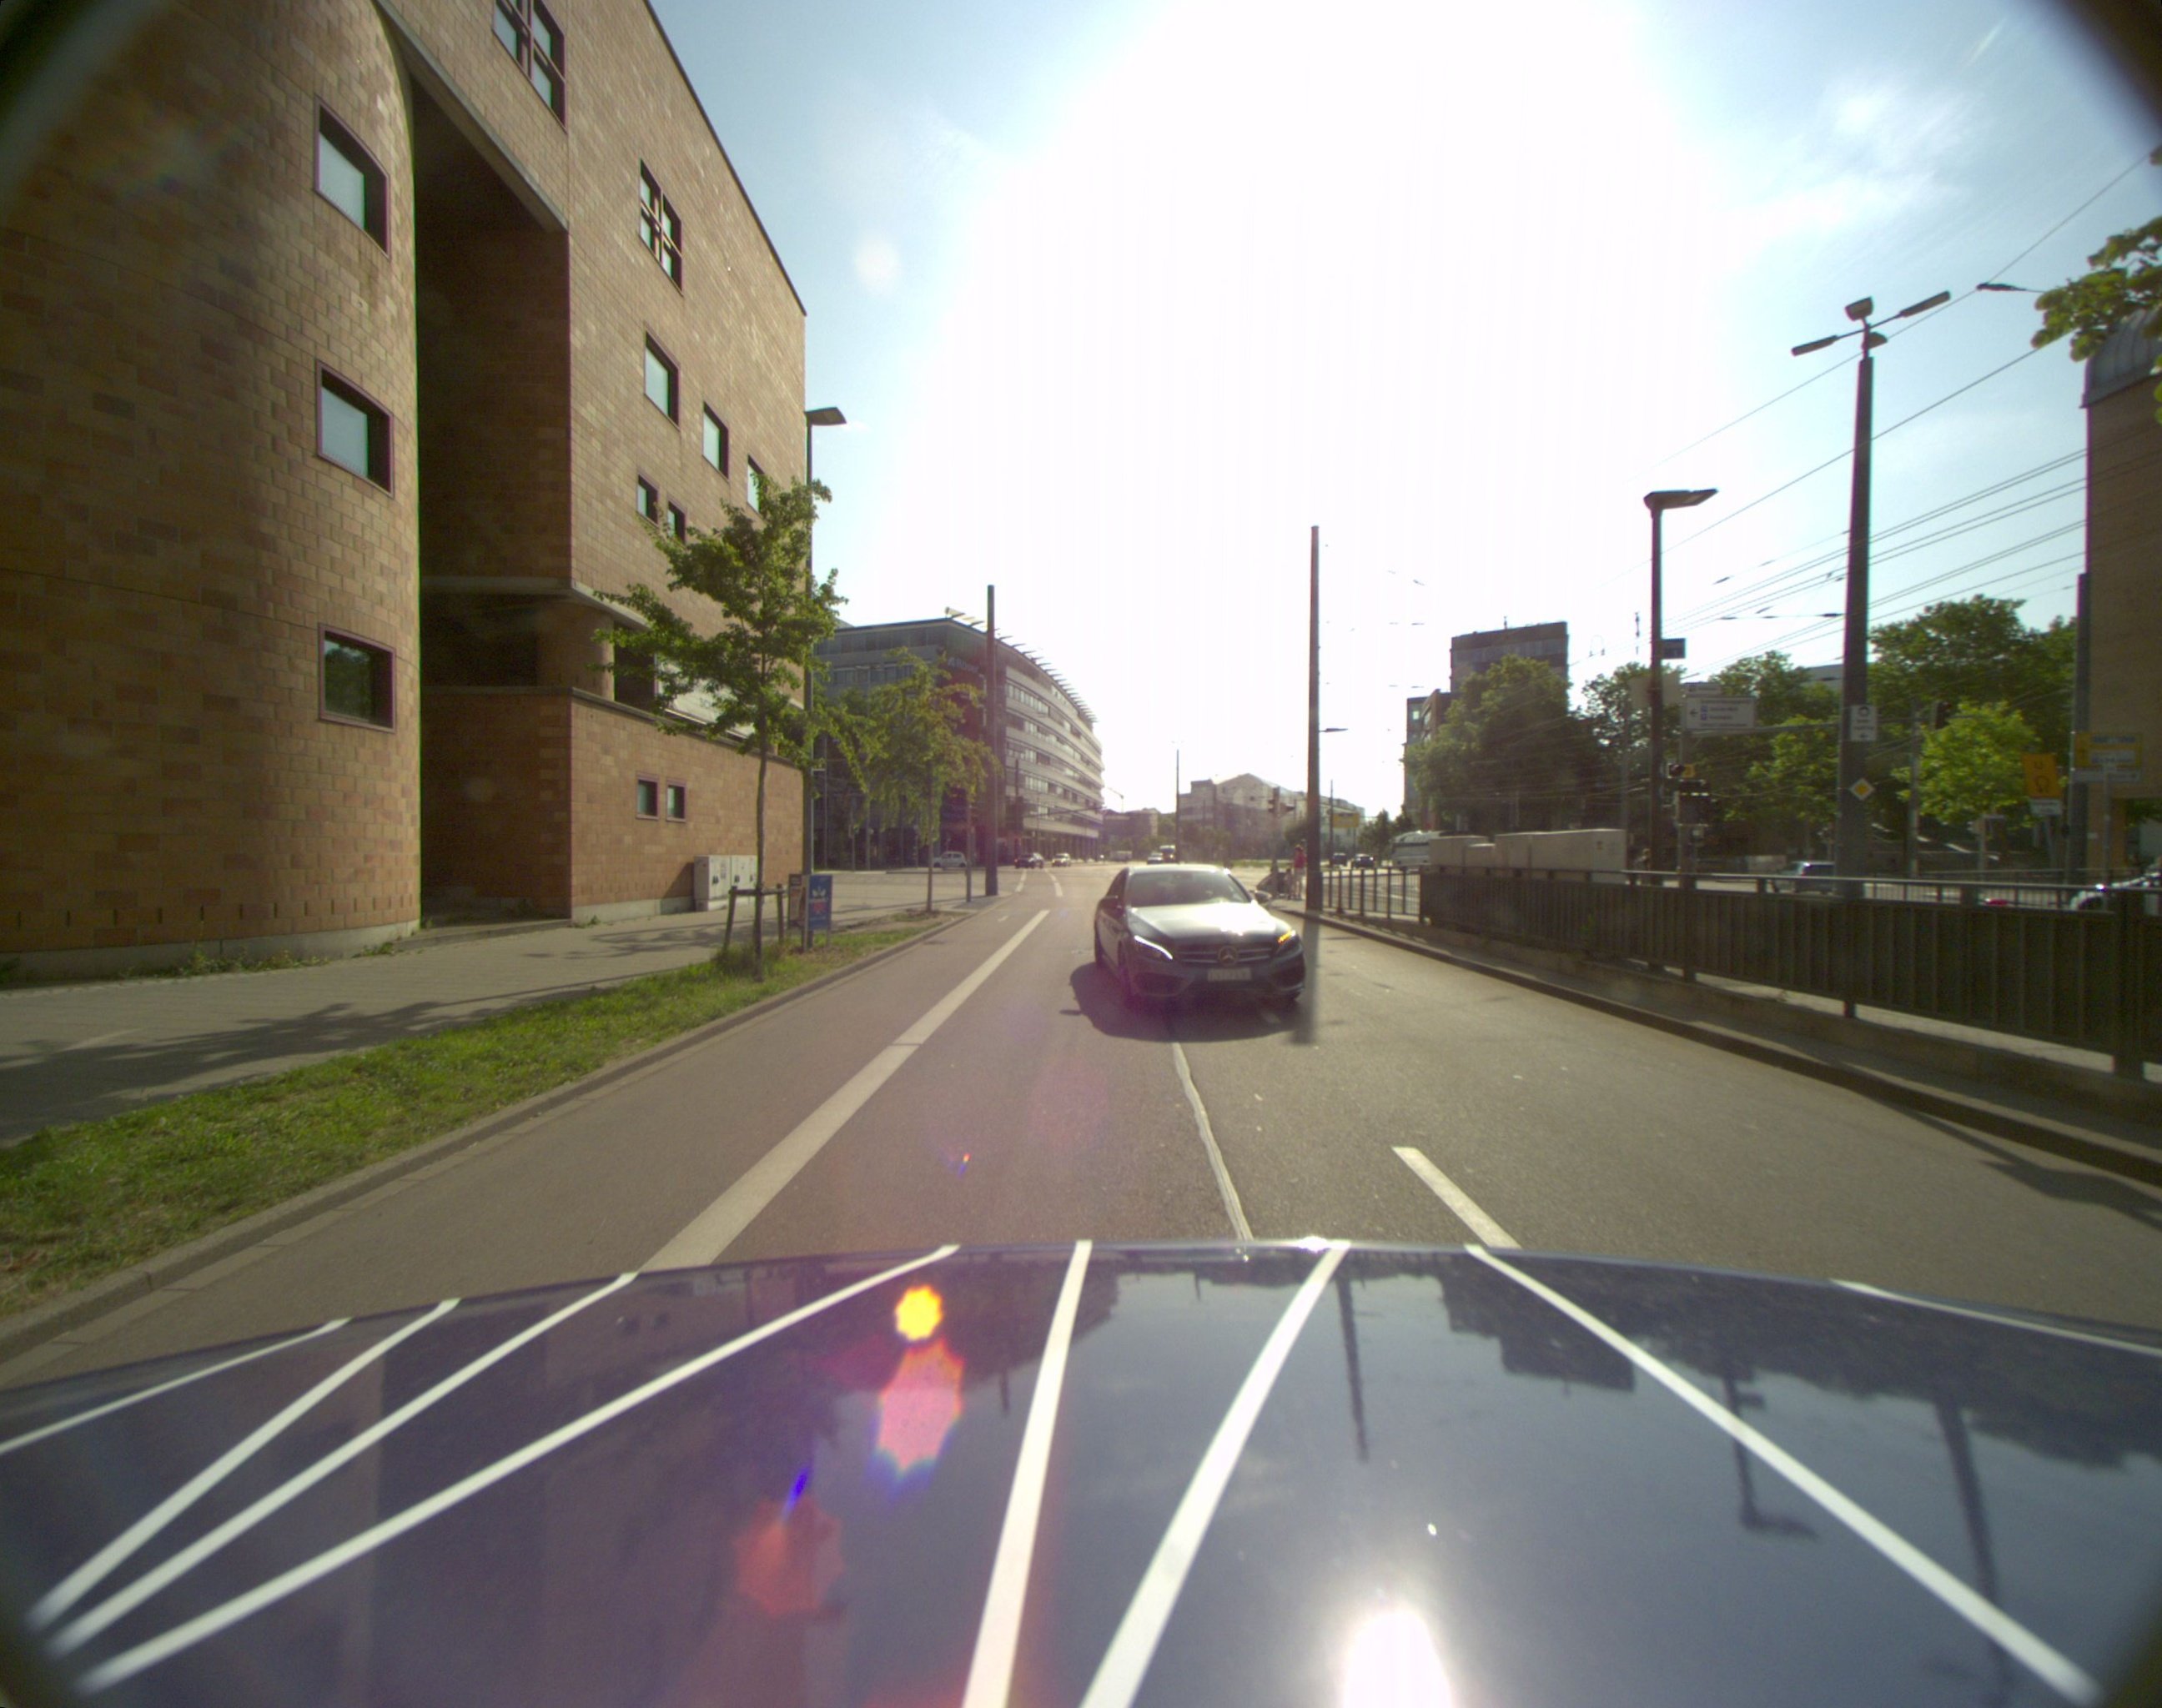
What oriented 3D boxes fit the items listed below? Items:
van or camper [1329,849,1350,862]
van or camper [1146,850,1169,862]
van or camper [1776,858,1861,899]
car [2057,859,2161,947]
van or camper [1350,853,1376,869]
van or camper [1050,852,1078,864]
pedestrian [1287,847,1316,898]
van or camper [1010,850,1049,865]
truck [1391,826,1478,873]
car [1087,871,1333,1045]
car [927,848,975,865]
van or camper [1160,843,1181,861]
[{"bbox_3d":[34.120,0.198,100.380,1.926,1.691,4.003,1,0,10],"label":"van or camper"},{"bbox_3d":[8.843,0.193,87.625,1.931,1.305,3.991,1,0,17],"label":"van or camper"},{"bbox_3d":[30.770,0.962,31.812,1.923,1.528,4.008,1,1,35],"label":"van or camper"},{"bbox_3d":[20.961,0.935,13.533,1.998,1.608,4.025,1,0,3],"label":"car"},{"bbox_3d":[29.191,0.698,78.868,1.843,1.543,4.003,1,0,10],"label":"van or camper"},{"bbox_3d":[-1.926,0.454,87.703,1.930,1.305,3.992,1,0,20],"label":"van or camper"},{"bbox_3d":[7.231,0.603,24.941,0.582,1.624,0.645,0,1,-31],"label":"pedestrian"},{"bbox_3d":[-5.102,0.294,76.103,1.995,1.434,4.221,1,1,26],"label":"van or camper"},{"bbox_3d":[31.093,-0.404,67.526,3.167,3.754,12.365,1,0,6],"label":"truck"},{"bbox_3d":[1.173,0.963,8.873,1.907,1.384,4.234,-1,1,-4],"label":"car"},{"bbox_3d":[-11.833,0.223,69.162,4.005,1.521,1.996,1,1,-23],"label":"car"},{"bbox_3d":[11.424,-0.297,97.001,1.931,2.198,3.991,1,1,17],"label":"van or camper"}]
